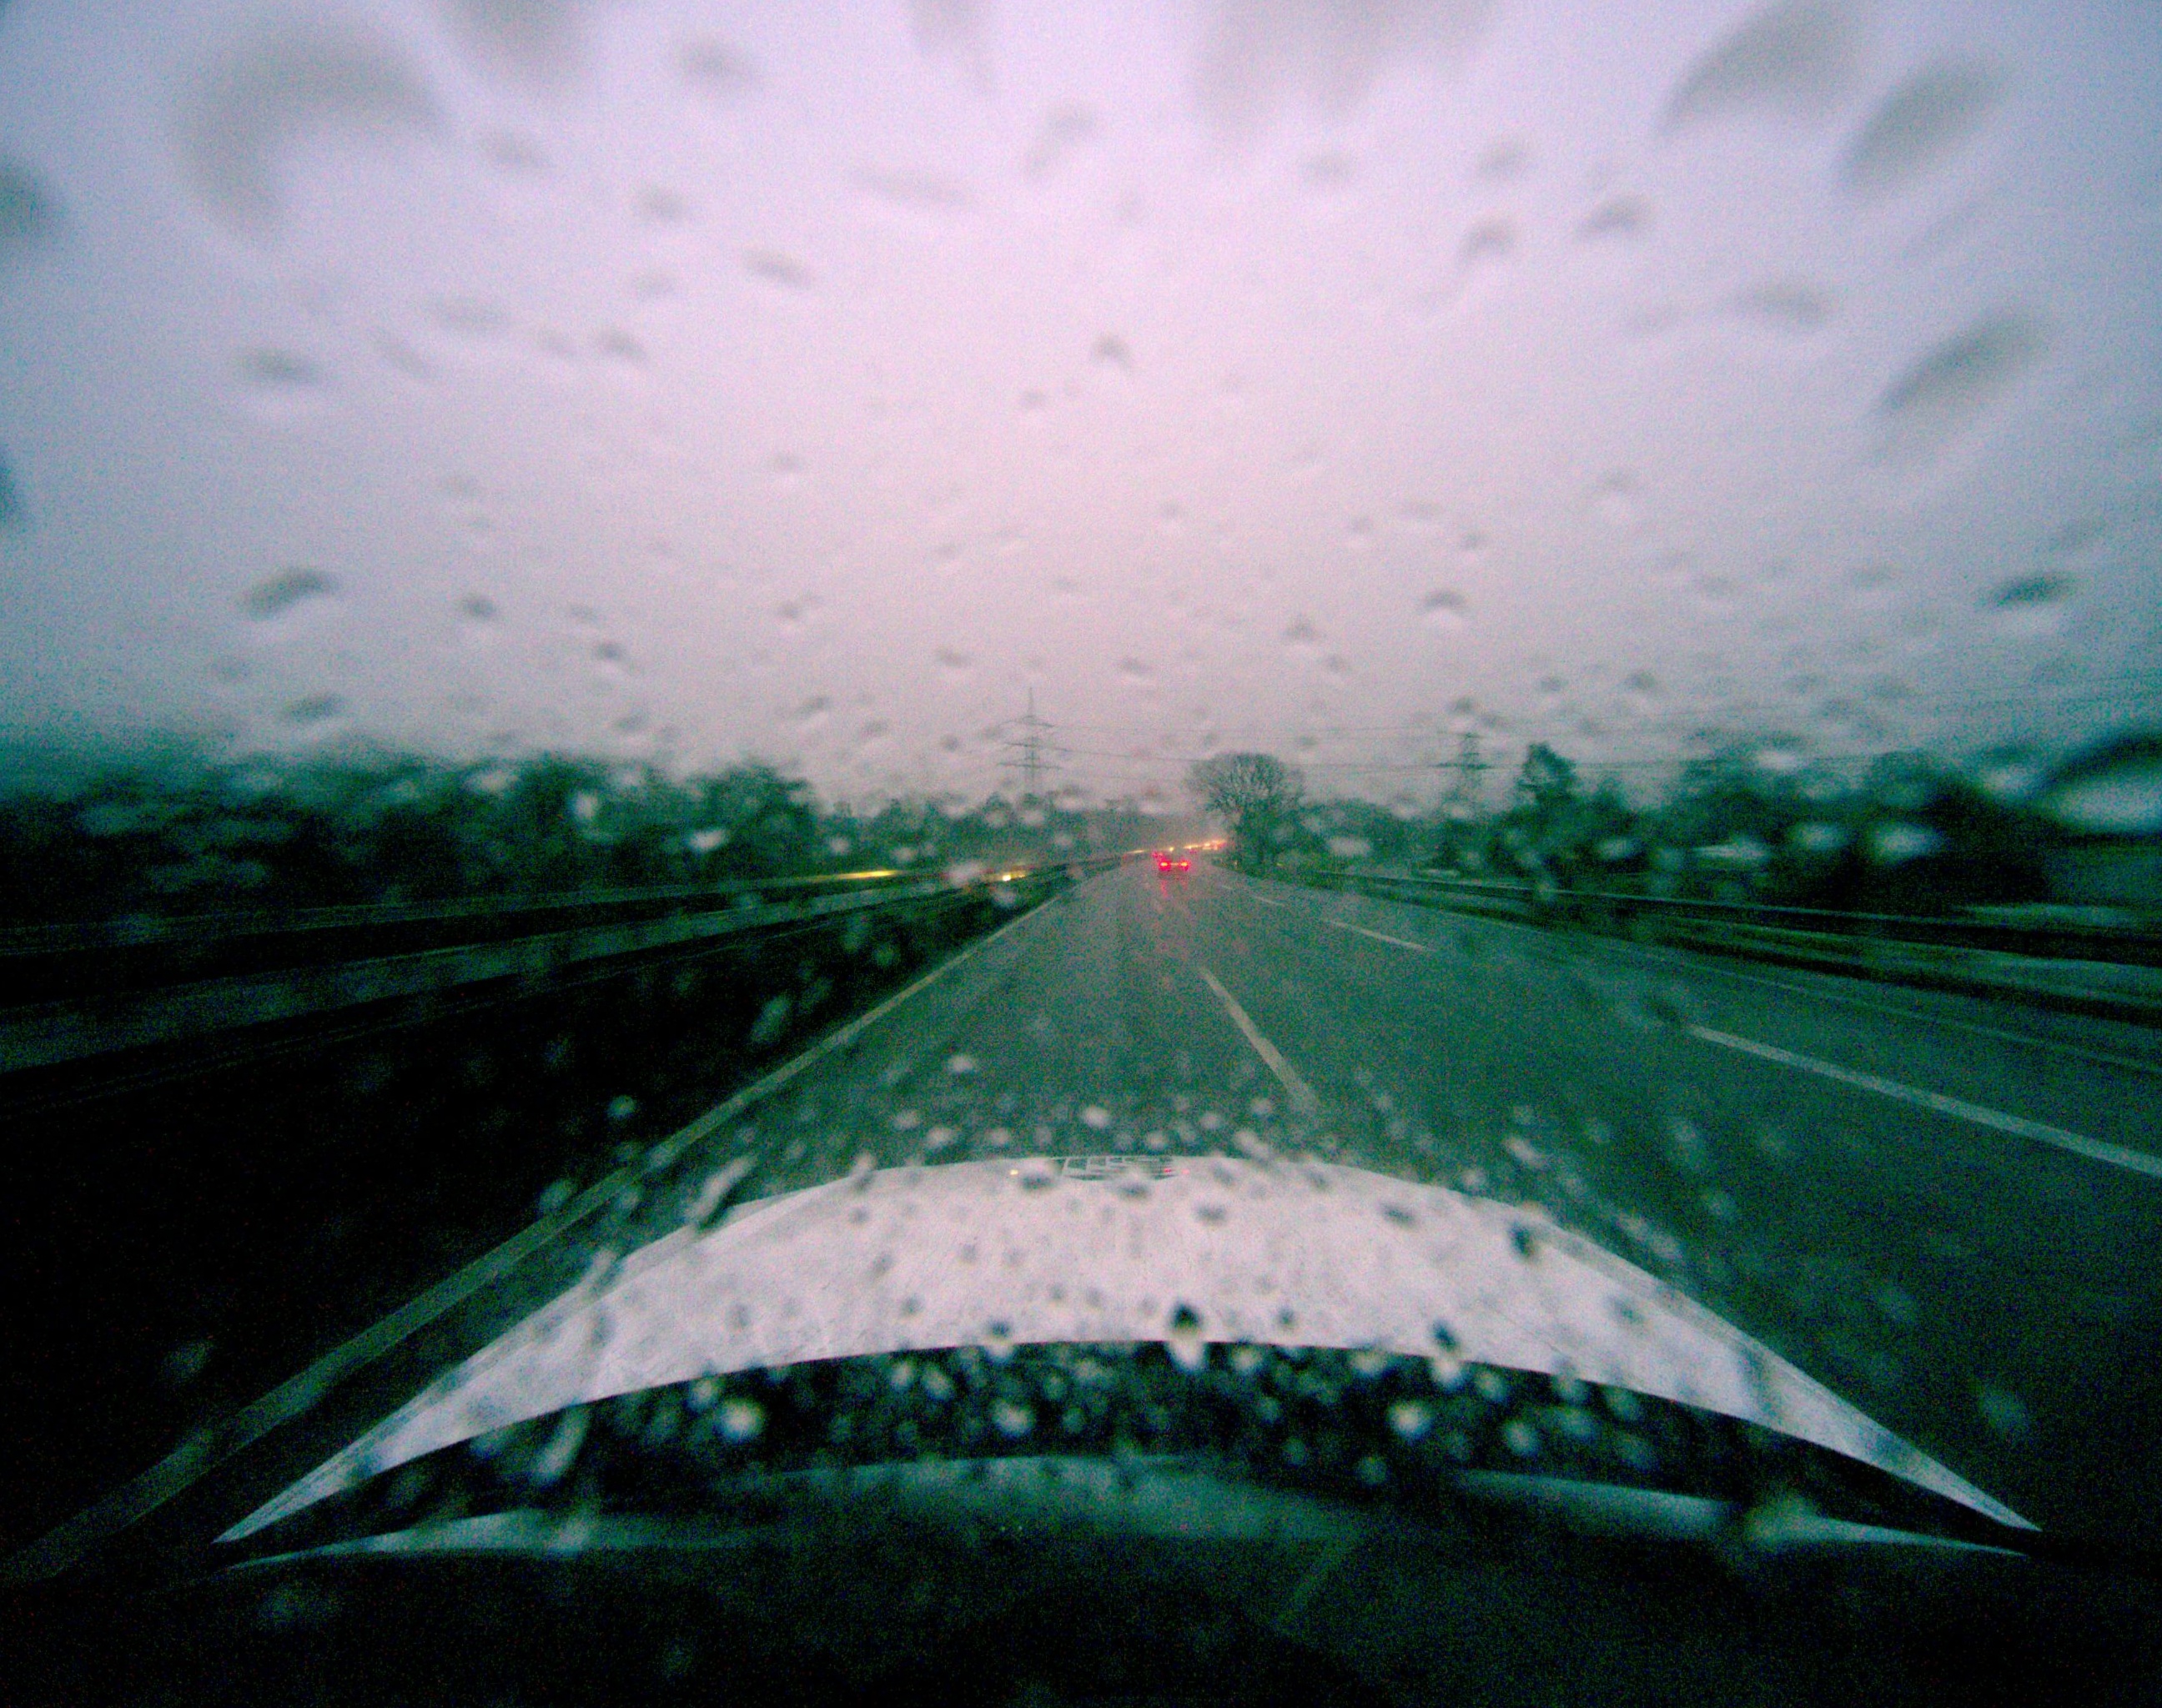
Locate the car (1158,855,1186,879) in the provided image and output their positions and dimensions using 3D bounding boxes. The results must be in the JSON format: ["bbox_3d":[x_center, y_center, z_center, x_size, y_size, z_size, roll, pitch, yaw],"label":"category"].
[{"bbox_3d":[6.320,0.861,56.136,1.667,1.508,3.820,-1,1,10],"label":"car"}]
